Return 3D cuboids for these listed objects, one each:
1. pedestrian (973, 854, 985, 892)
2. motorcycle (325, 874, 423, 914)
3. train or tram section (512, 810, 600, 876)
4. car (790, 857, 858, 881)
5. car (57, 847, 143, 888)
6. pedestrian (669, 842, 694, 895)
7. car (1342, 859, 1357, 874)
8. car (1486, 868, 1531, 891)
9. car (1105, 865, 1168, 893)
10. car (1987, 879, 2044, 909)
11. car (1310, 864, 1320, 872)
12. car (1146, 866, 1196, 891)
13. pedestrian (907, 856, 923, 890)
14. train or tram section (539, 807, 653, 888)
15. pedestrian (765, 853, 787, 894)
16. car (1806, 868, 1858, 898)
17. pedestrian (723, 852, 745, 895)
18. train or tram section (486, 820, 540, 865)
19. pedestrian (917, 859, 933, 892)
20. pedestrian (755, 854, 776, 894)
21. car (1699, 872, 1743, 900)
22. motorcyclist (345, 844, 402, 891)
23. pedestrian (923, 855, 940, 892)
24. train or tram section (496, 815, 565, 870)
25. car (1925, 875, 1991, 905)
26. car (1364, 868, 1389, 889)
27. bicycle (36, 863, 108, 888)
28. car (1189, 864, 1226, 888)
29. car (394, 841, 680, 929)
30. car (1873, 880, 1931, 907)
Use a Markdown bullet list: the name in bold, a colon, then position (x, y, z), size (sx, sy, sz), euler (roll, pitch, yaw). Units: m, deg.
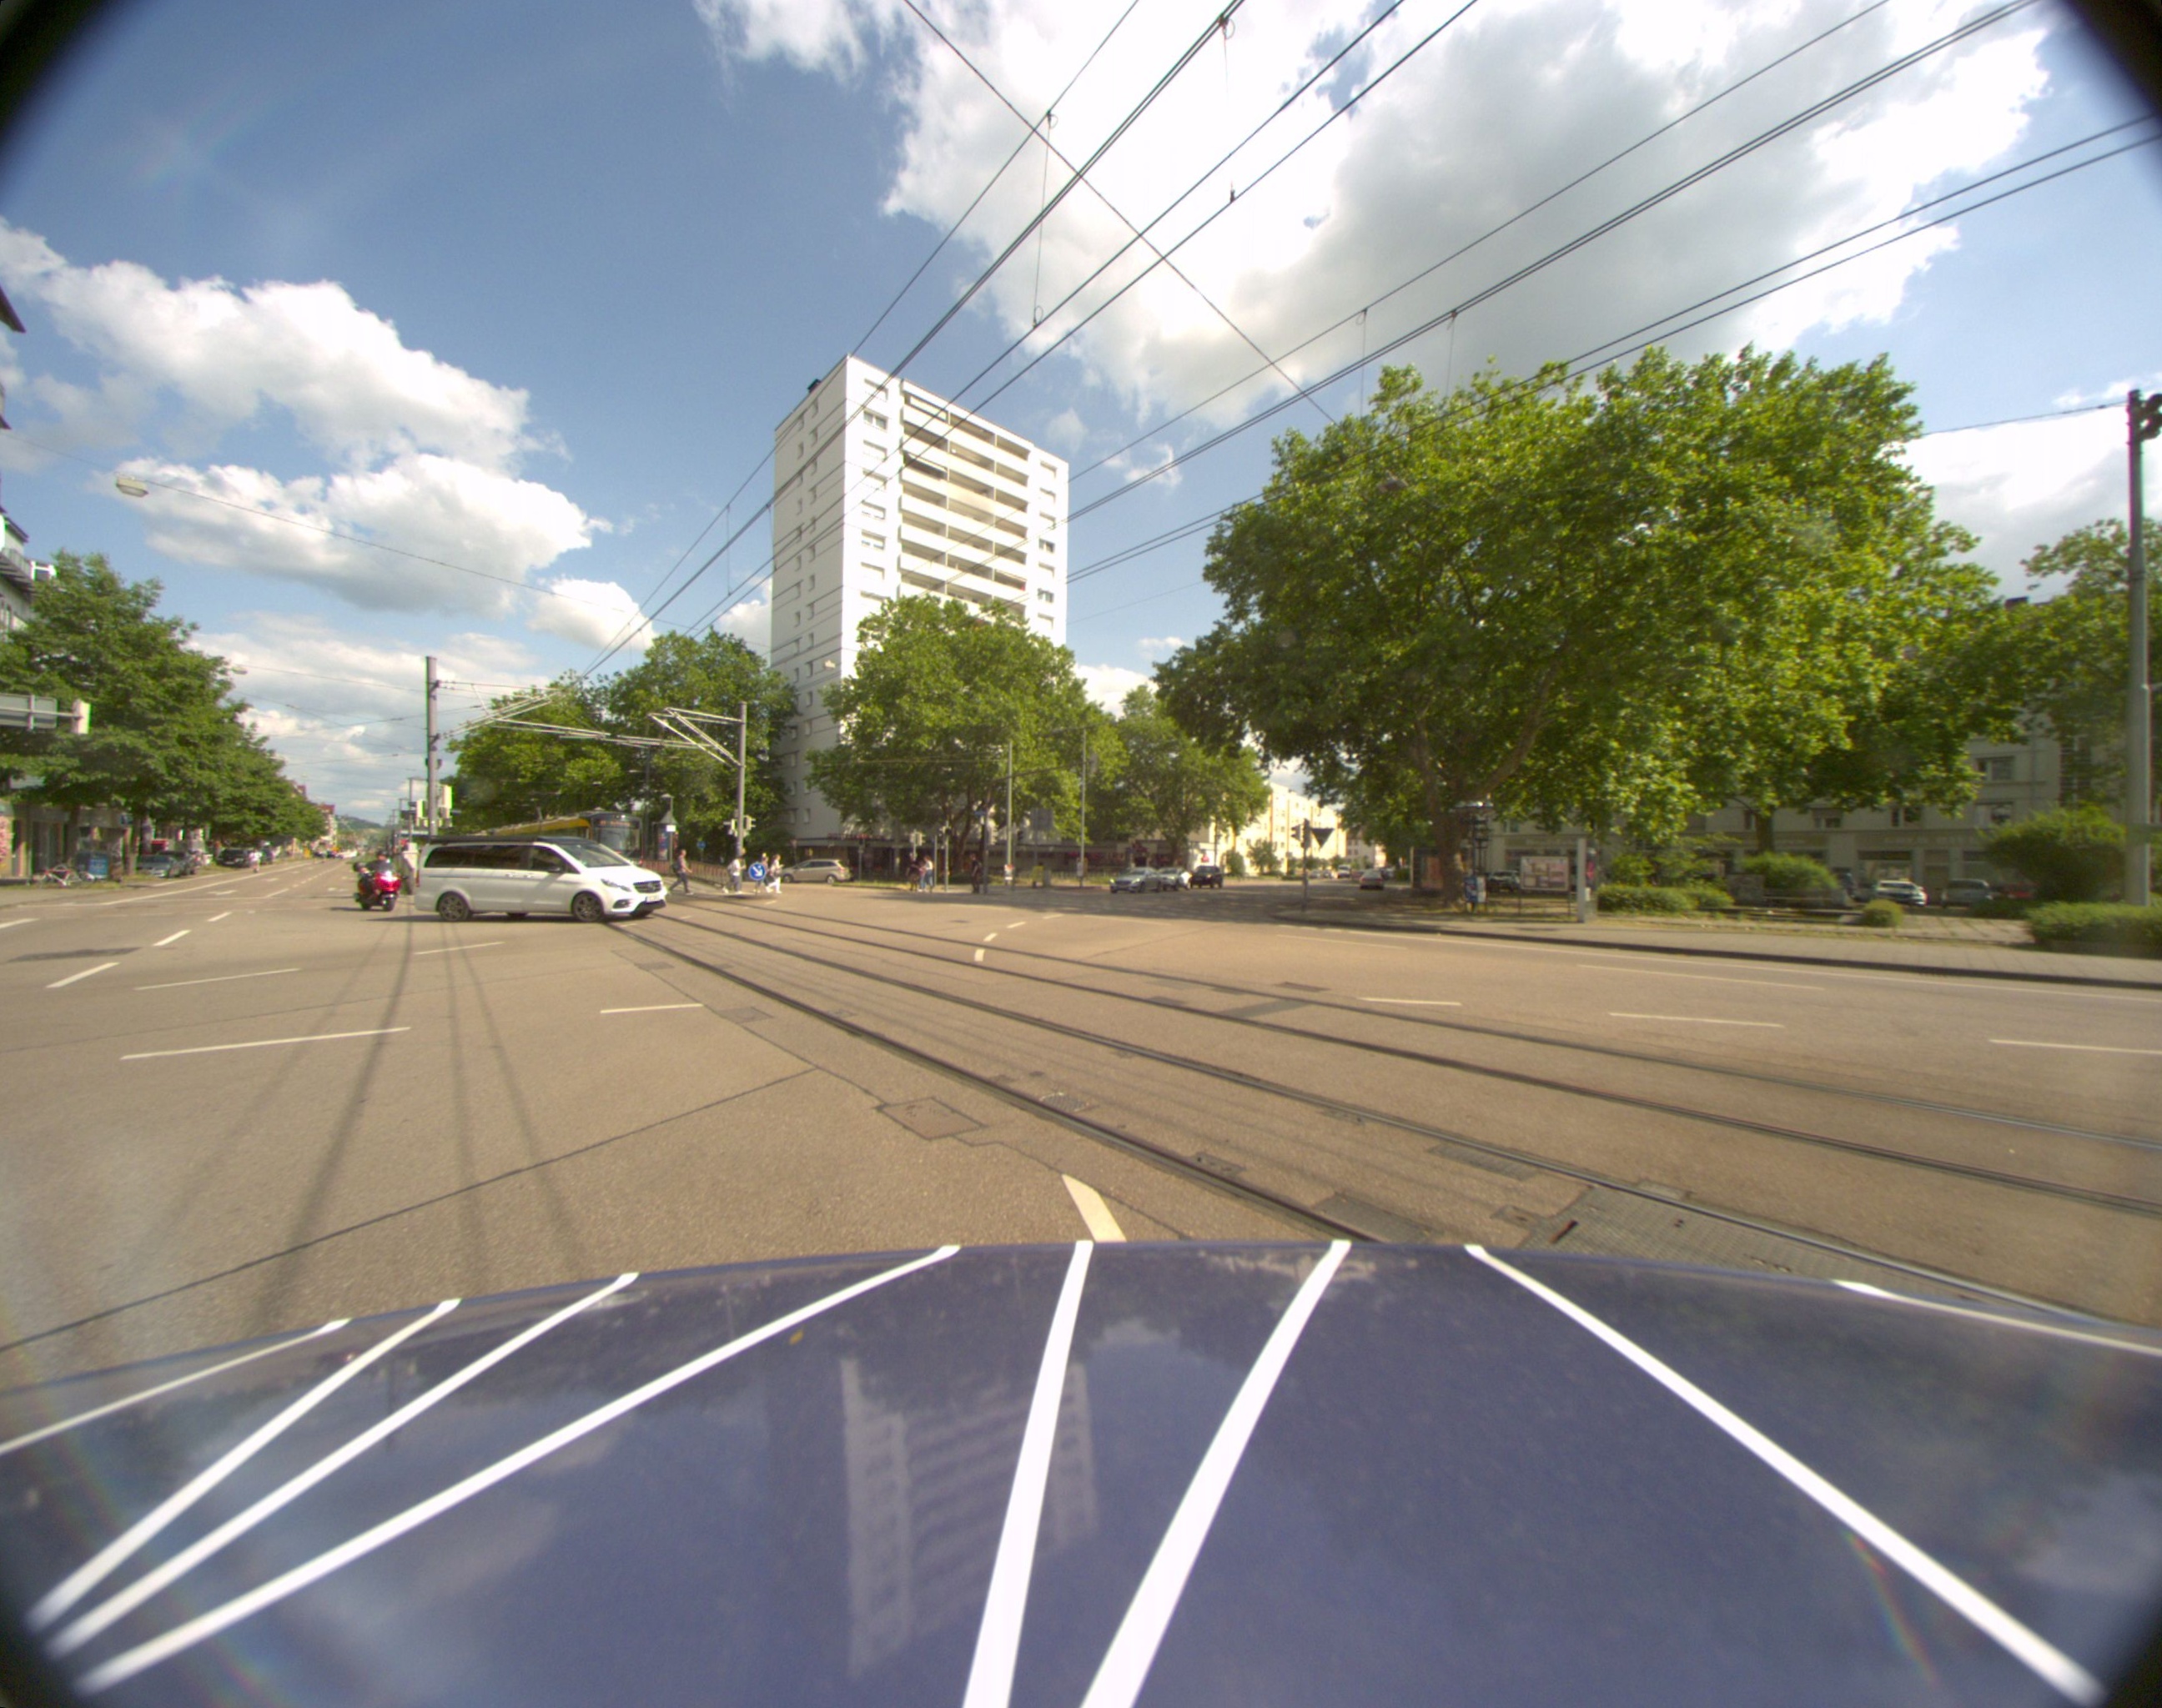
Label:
- **pedestrian**: position (-4.900, 0.901, 36.471), size (0.481, 1.814, 0.556), euler (1, 0, 0)
- **motorcycle**: position (-18.865, 1.052, 20.268), size (2.500, 0.971, 0.699), euler (1, 0, 16)
- **train or tram section**: position (-32.222, -0.642, 46.362), size (2.821, 3.540, 11.148), euler (1, 0, -43)
- **car**: position (-16.799, 0.974, 49.797), size (3.848, 1.481, 1.860), euler (1, 0, -3)
- **car**: position (-46.335, 0.627, 35.979), size (1.857, 1.778, 3.988), euler (4, -2, -44)
- **pedestrian**: position (-15.426, 0.546, 29.335), size (0.742, 2.002, 0.702), euler (1, 0, -37)
- **car**: position (32.996, 1.537, 93.408), size (1.580, 1.709, 4.005), euler (1, 1, 19)
- **car**: position (32.598, 1.909, 57.925), size (4.093, 1.650, 1.846), euler (1, 0, -44)
- **car**: position (3.157, 1.358, 42.391), size (1.856, 1.481, 4.008), euler (1, 0, 31)
- **car**: position (57.471, 2.400, 46.785), size (4.093, 1.650, 1.846), euler (1, 0, -44)
- **car**: position (48.239, 2.816, 156.311), size (1.579, 1.512, 4.007), euler (1, 0, 23)
- **car**: position (5.768, 1.523, 48.304), size (1.856, 1.481, 4.084), euler (1, 0, 26)
- **pedestrian**: position (-8.281, 0.932, 37.969), size (0.555, 1.661, 0.513), euler (1, 0, 26)
- **train or tram section**: position (-24.567, -0.331, 38.109), size (2.811, 3.540, 11.342), euler (1, 0, -43)
- **pedestrian**: position (-12.681, 0.802, 31.606), size (0.673, 1.693, 0.646), euler (1, 1, -40)
- **car**: position (44.415, 1.682, 45.008), size (1.994, 1.674, 4.009), euler (1, 0, 42)
- **pedestrian**: position (-14.000, 0.782, 30.652), size (0.673, 1.693, 0.646), euler (1, 1, -40)
- **train or tram section**: position (-47.069, -0.888, 62.832), size (2.781, 3.462, 8.880), euler (1, 0, -42)
- **pedestrian**: position (-7.763, 1.052, 37.722), size (0.555, 1.588, 0.513), euler (1, 0, 26)
- **pedestrian**: position (-13.868, 0.872, 33.390), size (0.673, 1.693, 0.646), euler (1, 1, -40)
- **car**: position (40.867, 1.978, 48.498), size (1.846, 1.650, 4.093), euler (1, 0, 44)
- **motorcyclist**: position (-18.849, 0.364, 20.251), size (0.975, 1.210, 0.699), euler (1, 1, 15)
- **pedestrian**: position (-7.194, 0.941, 36.572), size (0.555, 1.725, 0.530), euler (1, 0, 26)
- **train or tram section**: position (-40.003, -0.804, 55.001), size (2.821, 3.540, 12.120), euler (1, 0, -42)
- **car**: position (47.935, 1.923, 41.601), size (1.863, 1.509, 3.952), euler (1, 0, 42)
- **car**: position (23.798, 1.960, 61.154), size (1.686, 1.493, 4.007), euler (1, 1, 24)
- **bicycle**: position (-40.906, 0.883, 30.841), size (0.496, 0.980, 1.698), euler (1, 0, 45)
- **car**: position (9.284, 1.570, 55.528), size (1.686, 1.610, 4.007), euler (1, 0, 25)
- **car**: position (-12.283, 0.648, 17.403), size (5.167, 1.880, 2.000), euler (0, 1, 2)
- **car**: position (46.021, 2.188, 42.673), size (1.863, 1.346, 3.952), euler (1, 0, 42)
